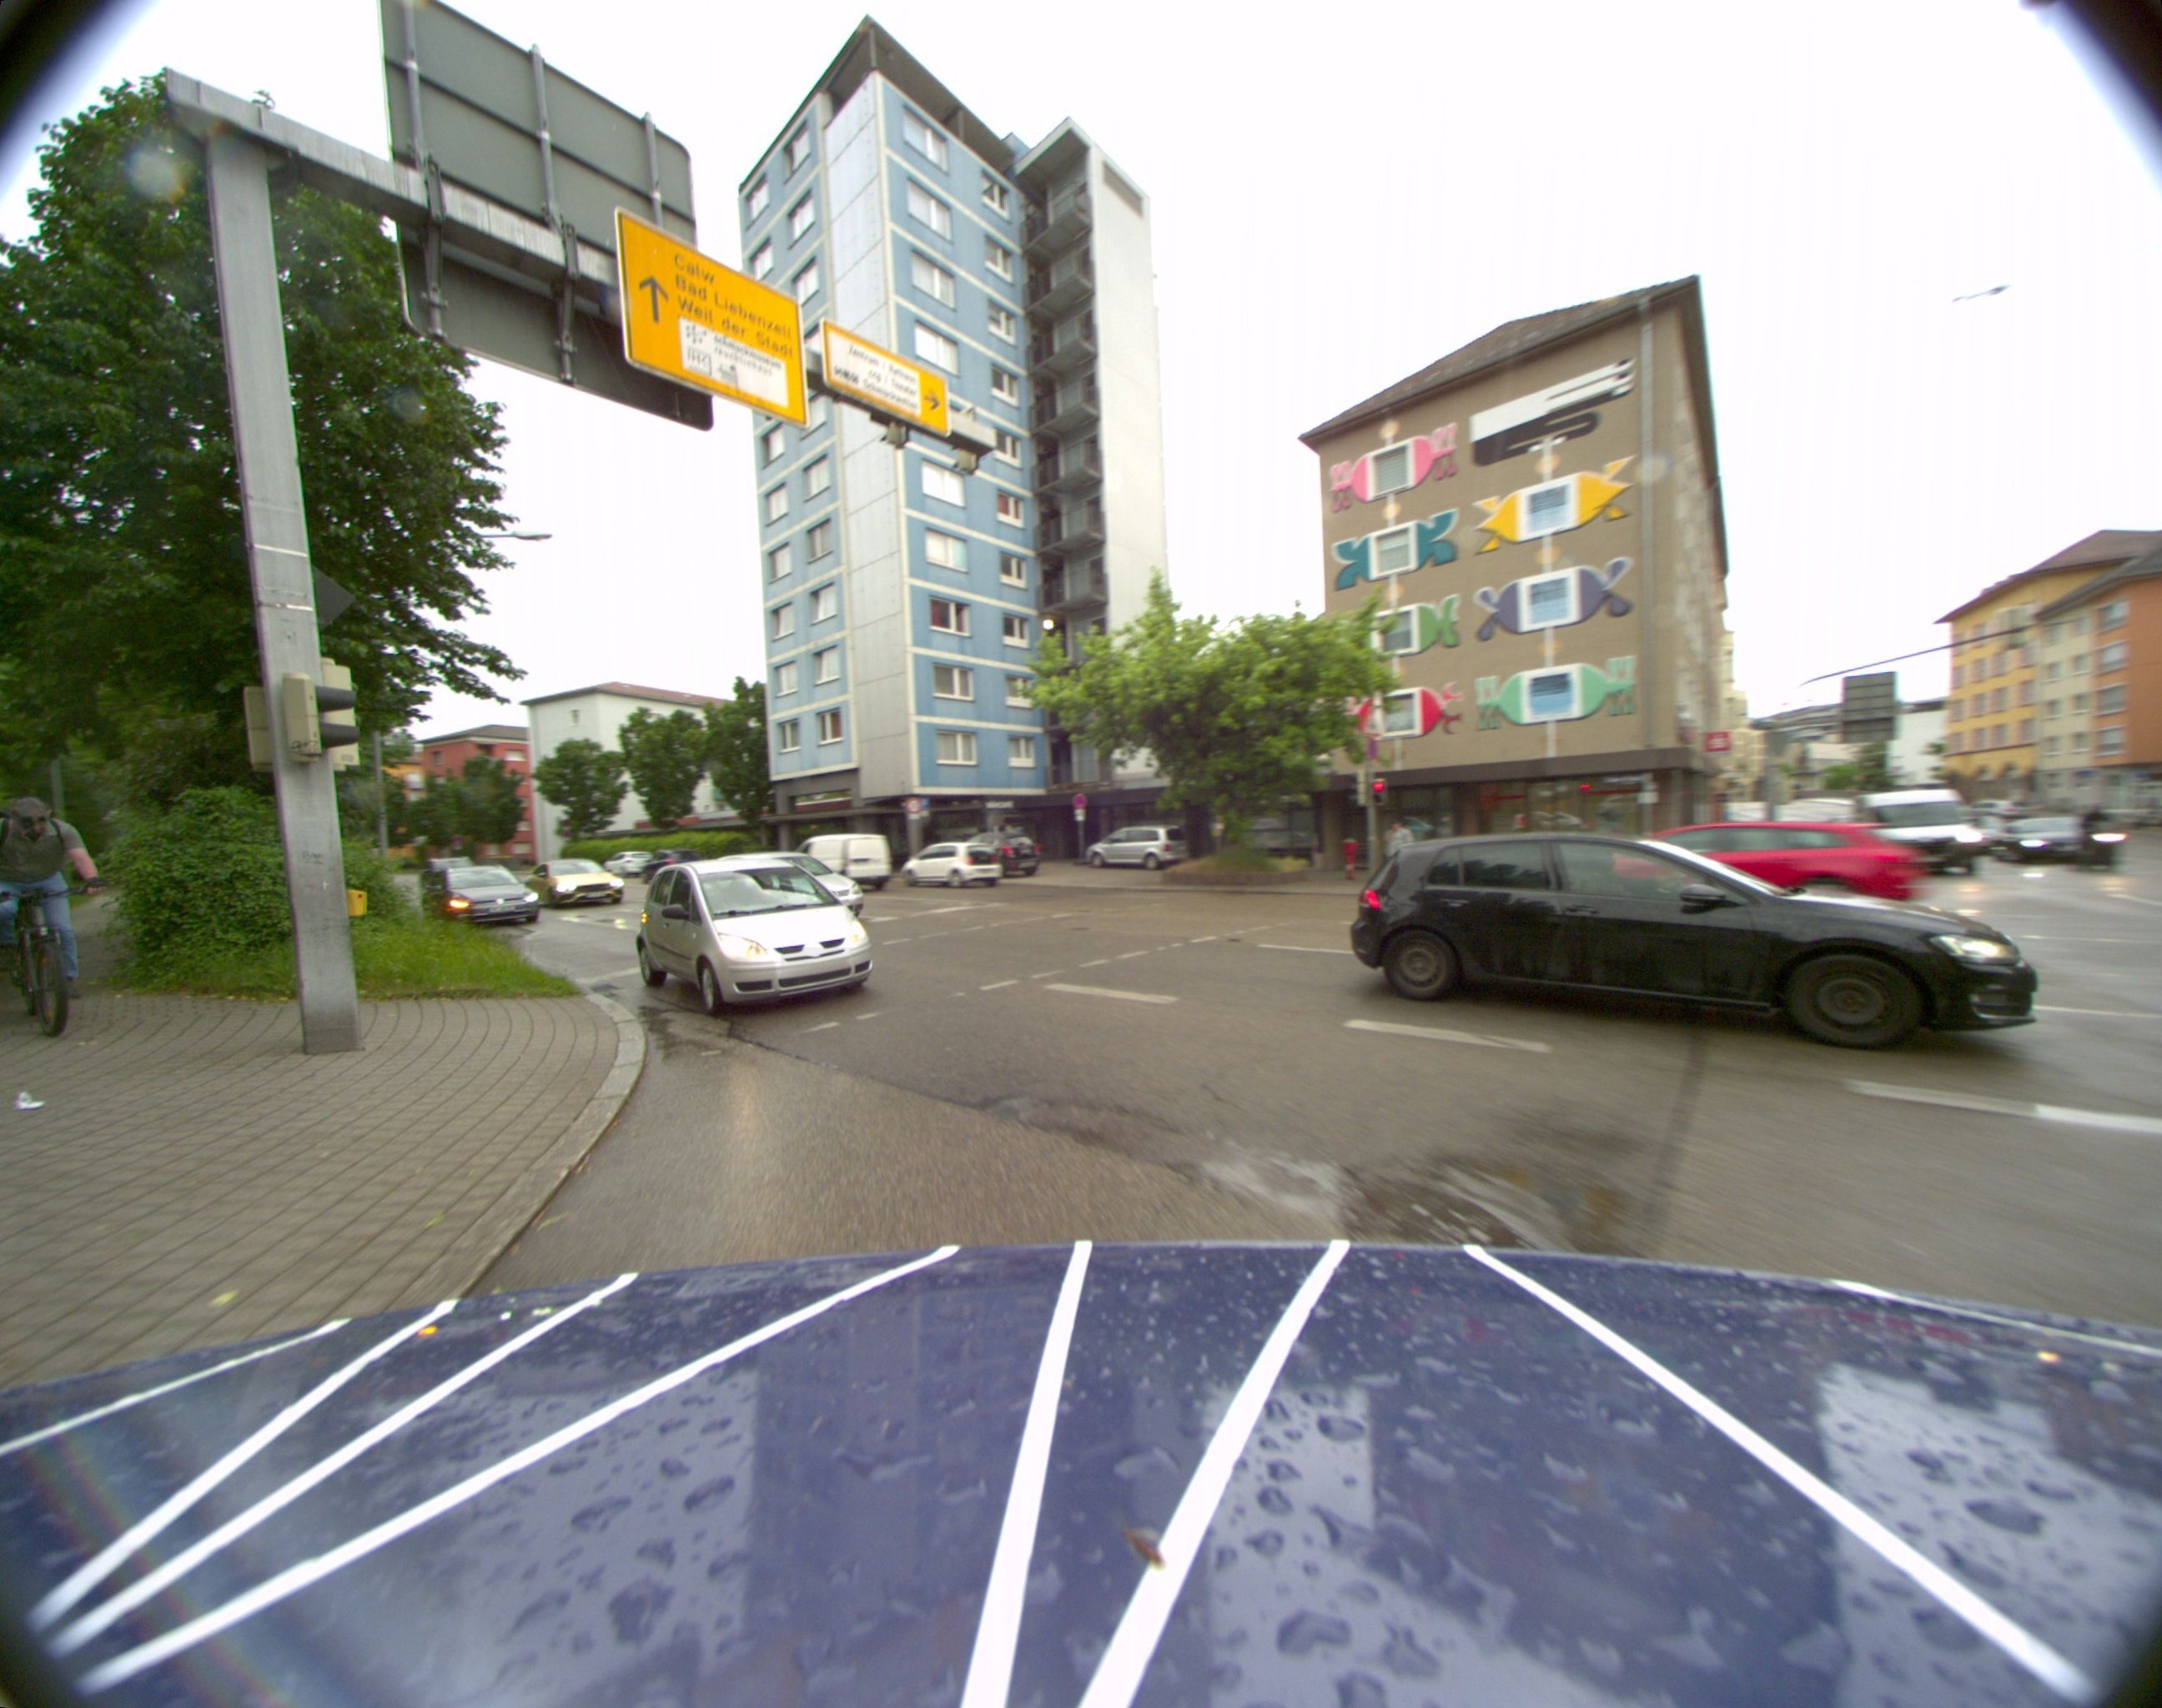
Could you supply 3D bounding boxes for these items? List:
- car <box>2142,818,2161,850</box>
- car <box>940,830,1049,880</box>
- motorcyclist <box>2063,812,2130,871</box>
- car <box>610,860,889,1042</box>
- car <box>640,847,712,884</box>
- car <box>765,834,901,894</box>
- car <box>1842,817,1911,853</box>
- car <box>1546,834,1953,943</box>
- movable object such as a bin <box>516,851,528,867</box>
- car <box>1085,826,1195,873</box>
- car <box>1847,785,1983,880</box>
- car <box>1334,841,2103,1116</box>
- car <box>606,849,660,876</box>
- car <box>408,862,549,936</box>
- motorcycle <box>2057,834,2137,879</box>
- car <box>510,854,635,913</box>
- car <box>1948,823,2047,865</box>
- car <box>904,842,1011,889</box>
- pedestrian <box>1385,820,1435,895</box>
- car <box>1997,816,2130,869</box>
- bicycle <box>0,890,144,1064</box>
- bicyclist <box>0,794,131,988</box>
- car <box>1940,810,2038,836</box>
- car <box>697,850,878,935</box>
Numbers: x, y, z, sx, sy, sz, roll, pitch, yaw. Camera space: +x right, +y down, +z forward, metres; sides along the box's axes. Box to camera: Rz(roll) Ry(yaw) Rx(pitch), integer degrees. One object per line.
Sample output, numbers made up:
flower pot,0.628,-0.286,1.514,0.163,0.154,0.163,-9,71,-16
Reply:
car,53.568,-1.021,36.648,1.845,1.557,4.378,-3,-1,42
car,-3.338,-0.029,28.840,4.173,1.657,1.653,2,5,41
motorcyclist,26.056,-0.312,19.512,0.877,1.471,0.798,0,2,42
car,-4.038,0.911,8.940,1.690,1.497,3.827,-7,5,-43
car,-17.828,0.468,33.418,3.442,1.527,1.620,0,2,41
car,-8.134,0.285,24.657,5.100,1.757,1.761,0,2,41
car,35.640,-0.840,34.141,1.845,1.411,3.576,-3,-1,42
car,10.188,0.408,12.015,4.569,1.415,1.711,1,2,44
movable object such as a bin,-51.211,0.460,69.628,0.788,1.492,0.816,-1,1,-30
car,2.306,-0.238,30.313,4.173,1.657,1.653,2,5,41
car,24.987,-0.598,22.988,2.227,2.509,5.482,-2,0,42
car,4.381,0.676,6.009,4.155,1.416,1.691,-1,2,41
car,-26.280,0.475,44.524,3.706,1.510,1.654,0,1,41
car,-15.251,1.066,19.160,4.489,1.497,1.690,-1,5,39
motorcycle,26.099,0.049,19.564,0.877,1.093,1.804,0,2,42
car,-16.007,0.845,23.825,4.567,1.434,1.994,1,6,41
car,34.499,-0.386,28.702,1.845,1.411,3.576,-3,-1,42
car,-4.149,0.351,25.392,3.432,1.475,1.711,0,1,41
pedestrian,8.034,0.077,18.567,0.901,1.764,0.819,1,2,41
car,29.886,-0.340,23.242,1.845,1.411,3.576,-3,-1,42
bicycle,-8.651,0.935,6.255,2.127,1.181,0.890,0,1,32
bicyclist,-8.554,0.280,6.182,0.966,1.481,0.890,0,1,32
car,63.169,-2.199,52.986,1.848,1.699,4.368,-2,3,6
car,-6.002,0.669,15.321,4.024,1.417,1.691,1,3,41
